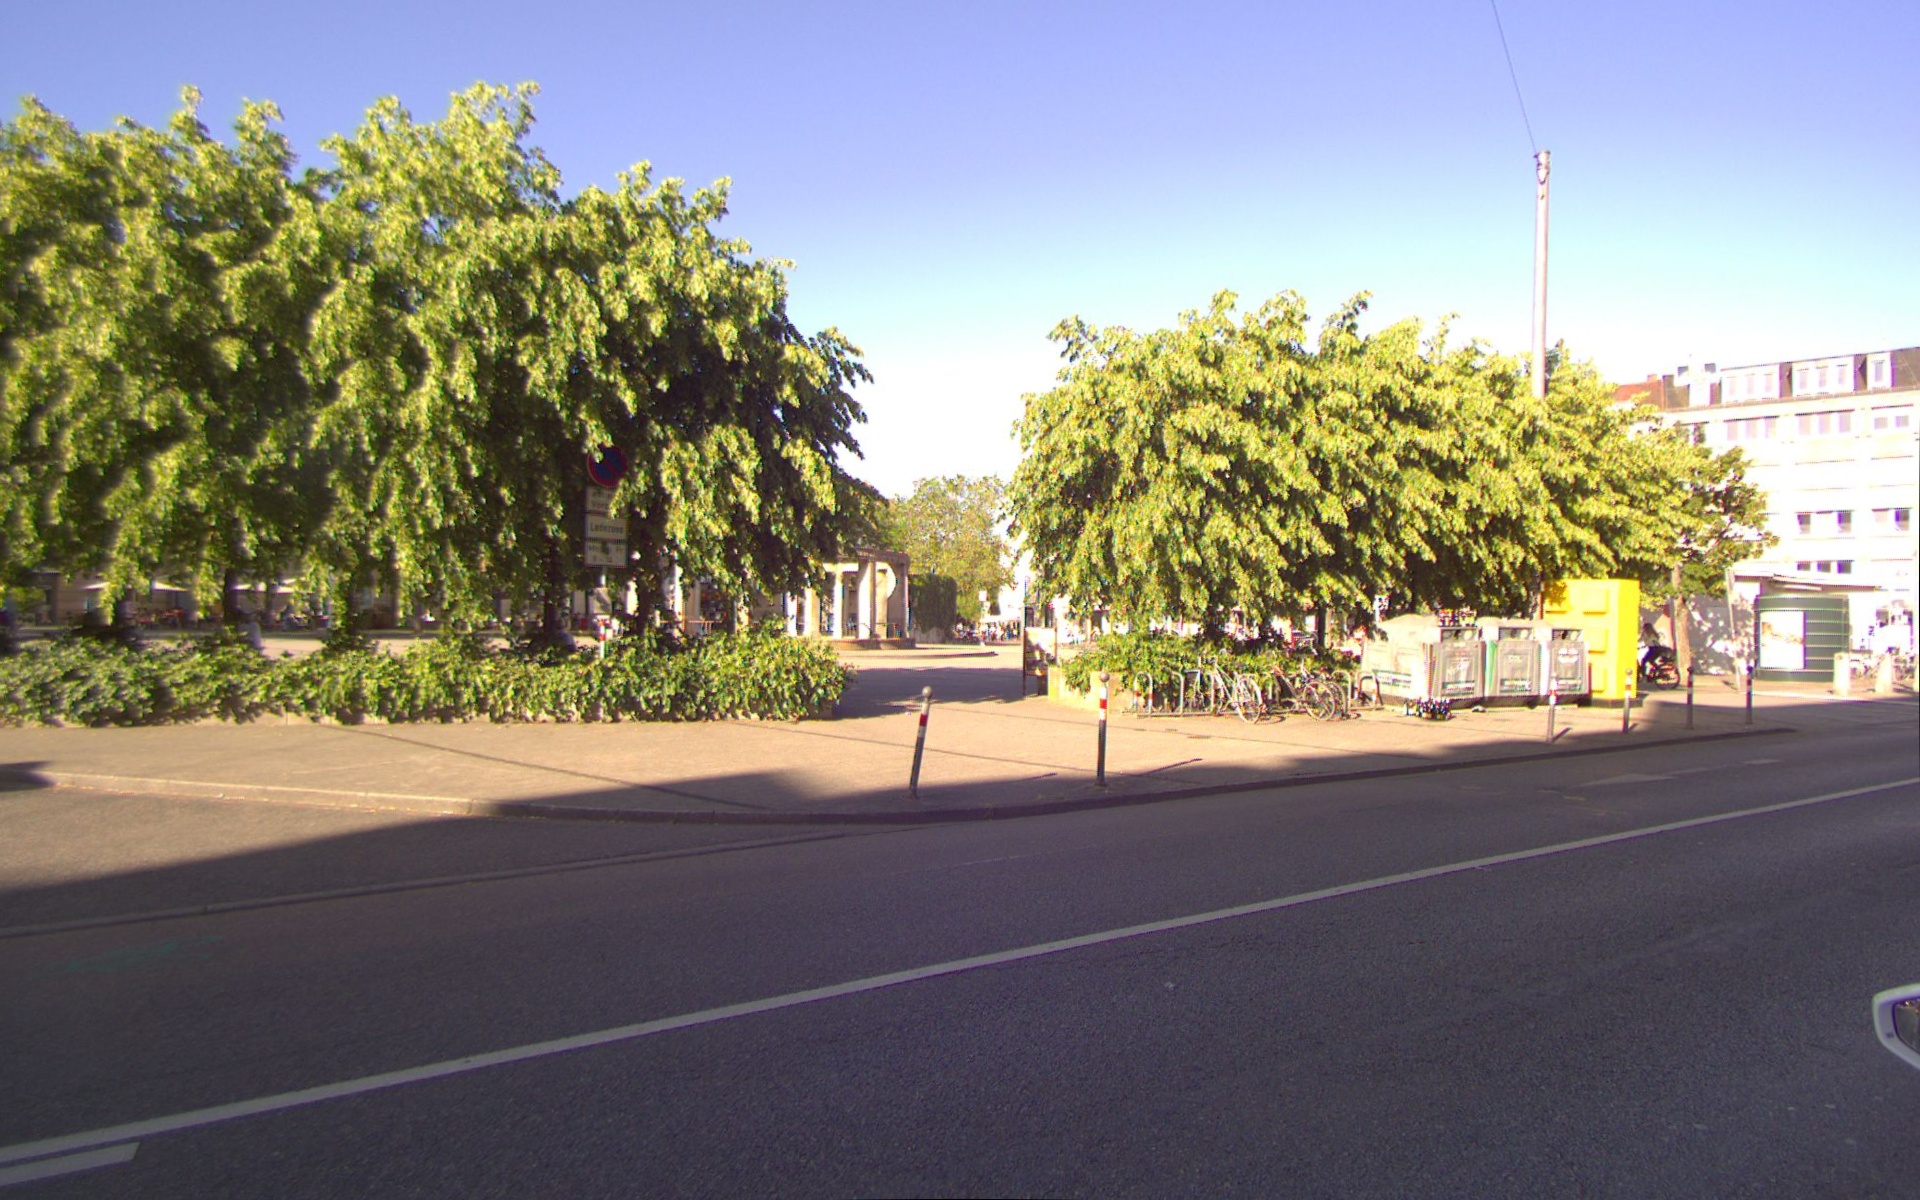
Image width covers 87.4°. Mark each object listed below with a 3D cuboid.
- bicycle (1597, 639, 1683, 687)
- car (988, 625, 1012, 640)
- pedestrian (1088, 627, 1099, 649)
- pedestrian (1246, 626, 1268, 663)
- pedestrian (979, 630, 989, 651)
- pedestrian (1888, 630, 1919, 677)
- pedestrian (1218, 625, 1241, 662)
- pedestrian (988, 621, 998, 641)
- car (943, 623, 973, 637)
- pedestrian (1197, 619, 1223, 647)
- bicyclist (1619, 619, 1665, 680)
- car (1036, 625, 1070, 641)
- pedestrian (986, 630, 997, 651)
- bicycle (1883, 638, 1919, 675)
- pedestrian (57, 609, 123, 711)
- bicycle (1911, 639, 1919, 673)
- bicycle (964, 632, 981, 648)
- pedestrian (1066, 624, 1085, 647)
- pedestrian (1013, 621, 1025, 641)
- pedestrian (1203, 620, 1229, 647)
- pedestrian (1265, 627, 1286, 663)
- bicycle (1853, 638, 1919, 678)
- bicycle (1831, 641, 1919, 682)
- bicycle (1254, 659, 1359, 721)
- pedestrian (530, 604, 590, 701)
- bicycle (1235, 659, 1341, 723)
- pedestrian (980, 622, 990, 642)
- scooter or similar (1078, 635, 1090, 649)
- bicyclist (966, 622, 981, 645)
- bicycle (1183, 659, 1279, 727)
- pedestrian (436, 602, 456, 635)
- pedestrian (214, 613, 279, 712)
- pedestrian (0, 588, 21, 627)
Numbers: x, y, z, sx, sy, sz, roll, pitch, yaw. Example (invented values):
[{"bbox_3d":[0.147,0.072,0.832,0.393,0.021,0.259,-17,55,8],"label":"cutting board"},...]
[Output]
[{"bbox_3d":[18.654,1.719,27.594,0.567,1.174,1.949,1,0,-23],"label":"bicycle"},{"bbox_3d":[4.483,3.617,112.678,1.525,1.550,4.121,1,-1,-15],"label":"car"},{"bbox_3d":[9.645,2.742,72.648,0.614,1.544,0.579,2,0,25],"label":"pedestrian"},{"bbox_3d":[12.861,1.928,43.491,0.761,1.541,0.838,2,0,6],"label":"pedestrian"},{"bbox_3d":[1.747,2.935,72.902,0.570,1.544,0.624,2,0,-15],"label":"pedestrian"},{"bbox_3d":[34.258,1.933,36.028,1.086,1.633,1.253,2,0,-37],"label":"pedestrian"},{"bbox_3d":[11.912,1.909,44.395,0.904,1.541,0.936,2,0,15],"label":"pedestrian"},{"bbox_3d":[3.422,3.270,104.952,0.836,2.040,0.855,2,0,10],"label":"pedestrian"},{"bbox_3d":[-0.188,2.866,95.709,2.711,1.283,1.239,2,0,37],"label":"car"},{"bbox_3d":[11.781,1.552,47.376,0.855,1.230,0.933,2,0,-15],"label":"pedestrian"},{"bbox_3d":[18.675,1.346,27.523,0.571,1.636,0.824,1,0,-23],"label":"bicyclist"},{"bbox_3d":[8.215,2.931,88.571,2.711,1.283,1.239,2,0,37],"label":"car"},{"bbox_3d":[2.293,2.952,73.049,0.569,1.544,0.624,2,0,-15],"label":"pedestrian"},{"bbox_3d":[35.246,2.085,36.131,0.932,1.287,2.859,2,0,-32],"label":"bicycle"},{"bbox_3d":[-12.875,0.870,14.884,0.615,1.456,0.647,2,0,-32],"label":"pedestrian"},{"bbox_3d":[37.230,2.156,37.275,0.932,1.276,2.648,2,0,-32],"label":"bicycle"},{"bbox_3d":[0.970,3.096,77.713,0.596,1.116,1.981,2,0,-19],"label":"bicycle"},{"bbox_3d":[9.723,2.955,84.548,1.277,1.867,1.100,2,0,28],"label":"pedestrian"},{"bbox_3d":[5.580,2.912,94.372,0.891,1.845,0.952,2,0,17],"label":"pedestrian"},{"bbox_3d":[12.261,1.588,48.103,0.885,1.230,0.864,2,0,-15],"label":"pedestrian"},{"bbox_3d":[13.605,1.944,43.344,0.598,1.528,0.557,2,0,-15],"label":"pedestrian"},{"bbox_3d":[33.127,2.041,35.065,0.923,1.291,2.764,2,0,-32],"label":"bicycle"},{"bbox_3d":[31.178,2.064,33.806,0.932,1.211,2.645,2,0,-32],"label":"bicycle"},{"bbox_3d":[5.657,1.453,16.480,0.465,0.870,1.654,2,0,-35],"label":"bicycle"},{"bbox_3d":[-6.576,0.846,16.511,0.688,1.541,0.676,2,0,-41],"label":"pedestrian"},{"bbox_3d":[5.258,1.442,16.185,0.465,0.870,1.659,2,0,-35],"label":"bicycle"},{"bbox_3d":[2.590,3.230,102.067,0.836,2.040,0.855,2,0,10],"label":"pedestrian"},{"bbox_3d":[9.015,3.024,72.968,0.775,0.970,0.464,2,0,25],"label":"scooter or similar"},{"bbox_3d":[1.039,2.600,77.567,0.777,1.722,0.891,2,0,-21],"label":"bicyclist"},{"bbox_3d":[4.158,1.410,15.526,0.464,0.897,1.558,2,0,-29],"label":"bicycle"},{"bbox_3d":[-24.326,0.884,47.576,0.683,1.550,0.737,2,0,-19],"label":"pedestrian"},{"bbox_3d":[-10.868,0.933,15.301,0.581,1.456,0.615,2,0,33],"label":"pedestrian"},{"bbox_3d":[-37.971,0.299,39.902,0.680,1.545,0.684,2,0,0],"label":"pedestrian"}]
